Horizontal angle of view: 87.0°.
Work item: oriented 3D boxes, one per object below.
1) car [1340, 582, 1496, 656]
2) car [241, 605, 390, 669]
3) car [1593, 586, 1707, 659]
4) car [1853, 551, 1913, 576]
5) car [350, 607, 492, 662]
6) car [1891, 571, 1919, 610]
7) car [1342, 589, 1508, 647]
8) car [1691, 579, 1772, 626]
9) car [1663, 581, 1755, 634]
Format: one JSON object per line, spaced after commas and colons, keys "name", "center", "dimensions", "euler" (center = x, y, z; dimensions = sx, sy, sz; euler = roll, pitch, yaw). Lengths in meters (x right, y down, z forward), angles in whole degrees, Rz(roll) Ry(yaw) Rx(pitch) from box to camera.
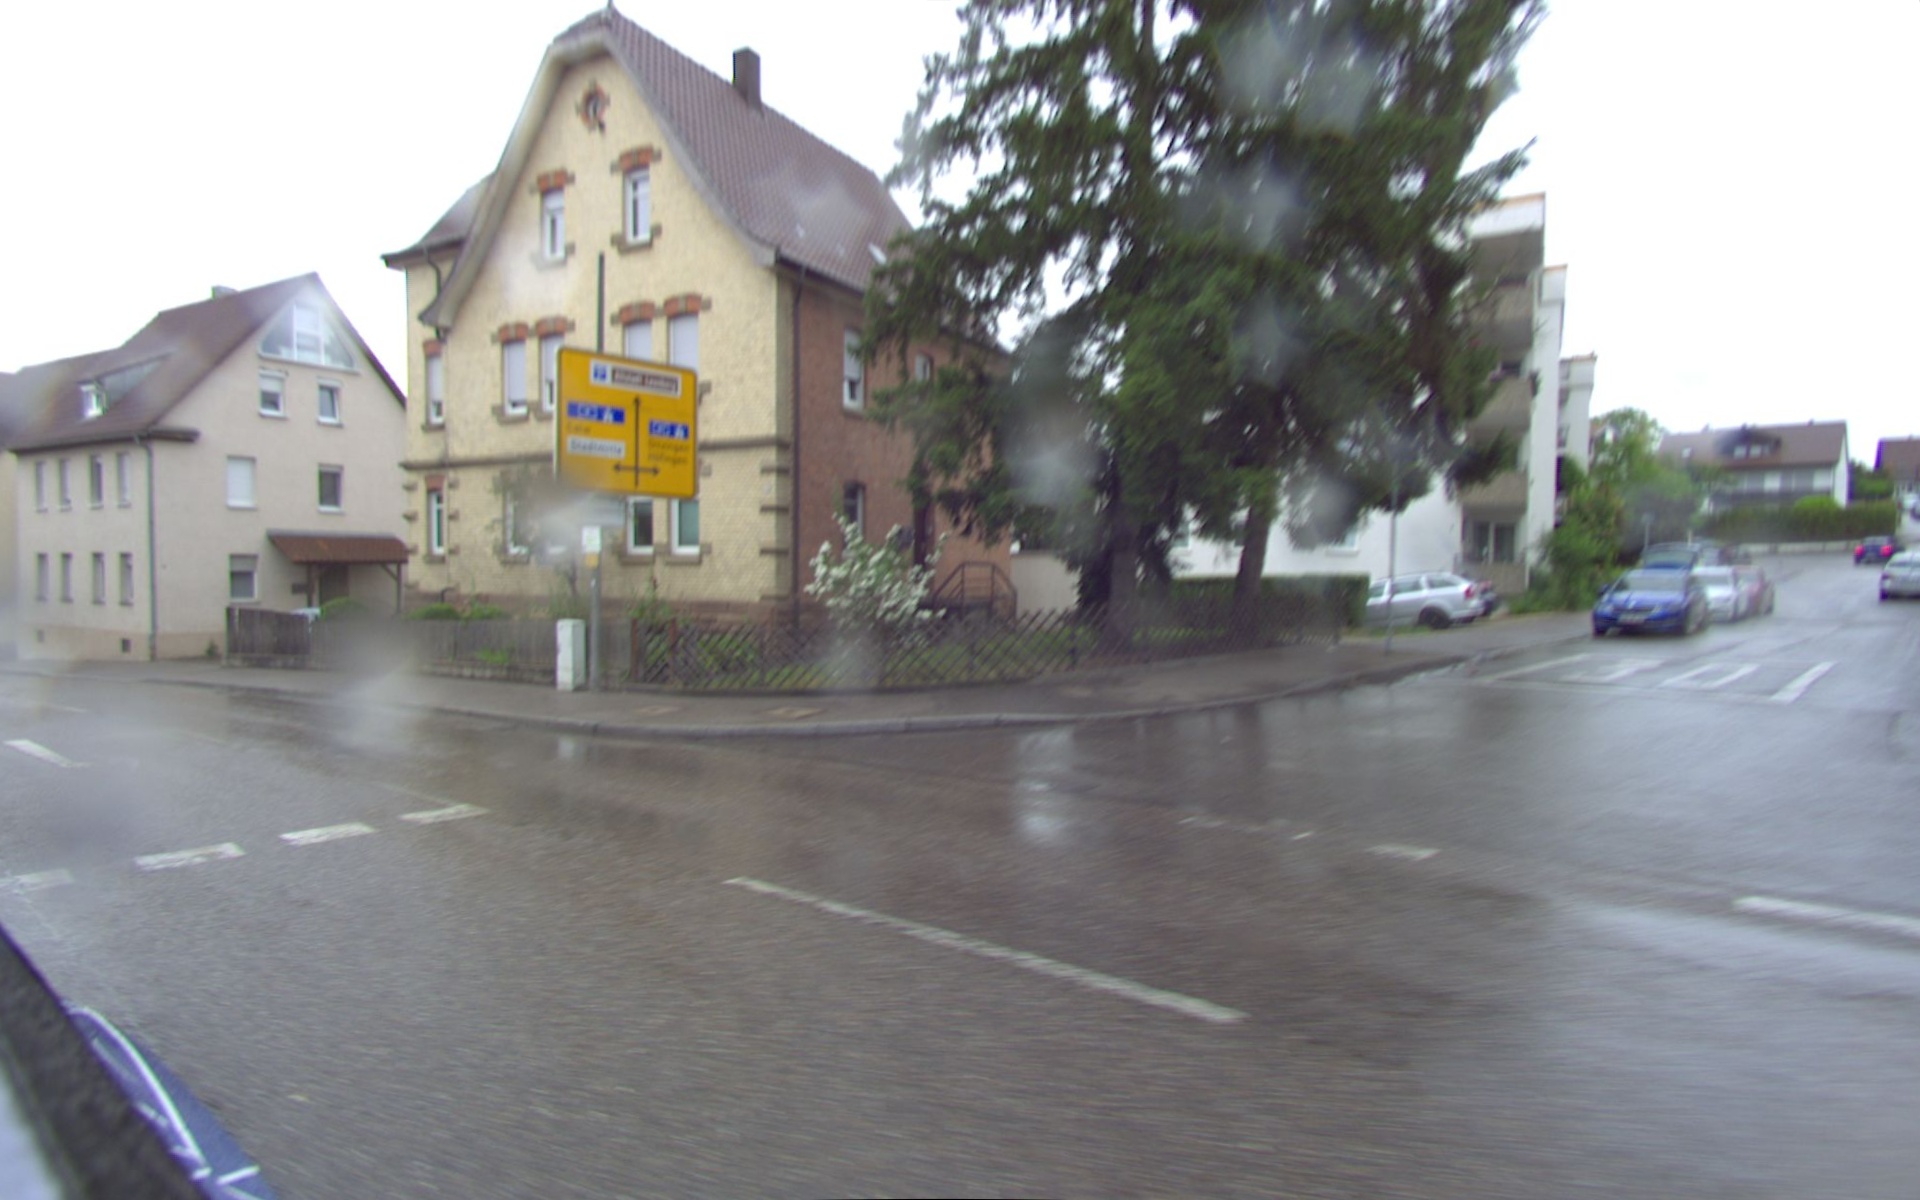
{"name": "car", "center": [11.689, 0.491, 25.862], "dimensions": [3.374, 1.779, 1.804], "euler": [-2, -1, 33]}
{"name": "car", "center": [-17.099, 0.995, 26.808], "dimensions": [3.869, 1.514, 1.758], "euler": [-2, 1, 31]}
{"name": "car", "center": [15.833, 0.490, 23.167], "dimensions": [1.823, 1.526, 3.339], "euler": [-2, -1, 40]}
{"name": "car", "center": [54.356, -2.153, 59.605], "dimensions": [3.327, 1.343, 1.829], "euler": [-1, -1, -33]}
{"name": "car", "center": [-15.410, 0.988, 28.908], "dimensions": [3.866, 1.377, 1.759], "euler": [-2, 1, 30]}
{"name": "car", "center": [34.214, -0.336, 35.832], "dimensions": [1.824, 1.343, 3.336], "euler": [-2, -1, 43]}
{"name": "car", "center": [12.986, 0.502, 28.301], "dimensions": [3.988, 1.503, 1.978], "euler": [-1, -1, 33]}
{"name": "car", "center": [23.641, 0.078, 30.955], "dimensions": [1.823, 1.343, 3.339], "euler": [-2, -1, 40]}
{"name": "car", "center": [20.473, 0.198, 27.631], "dimensions": [1.823, 1.343, 3.339], "euler": [-2, -1, 40]}
